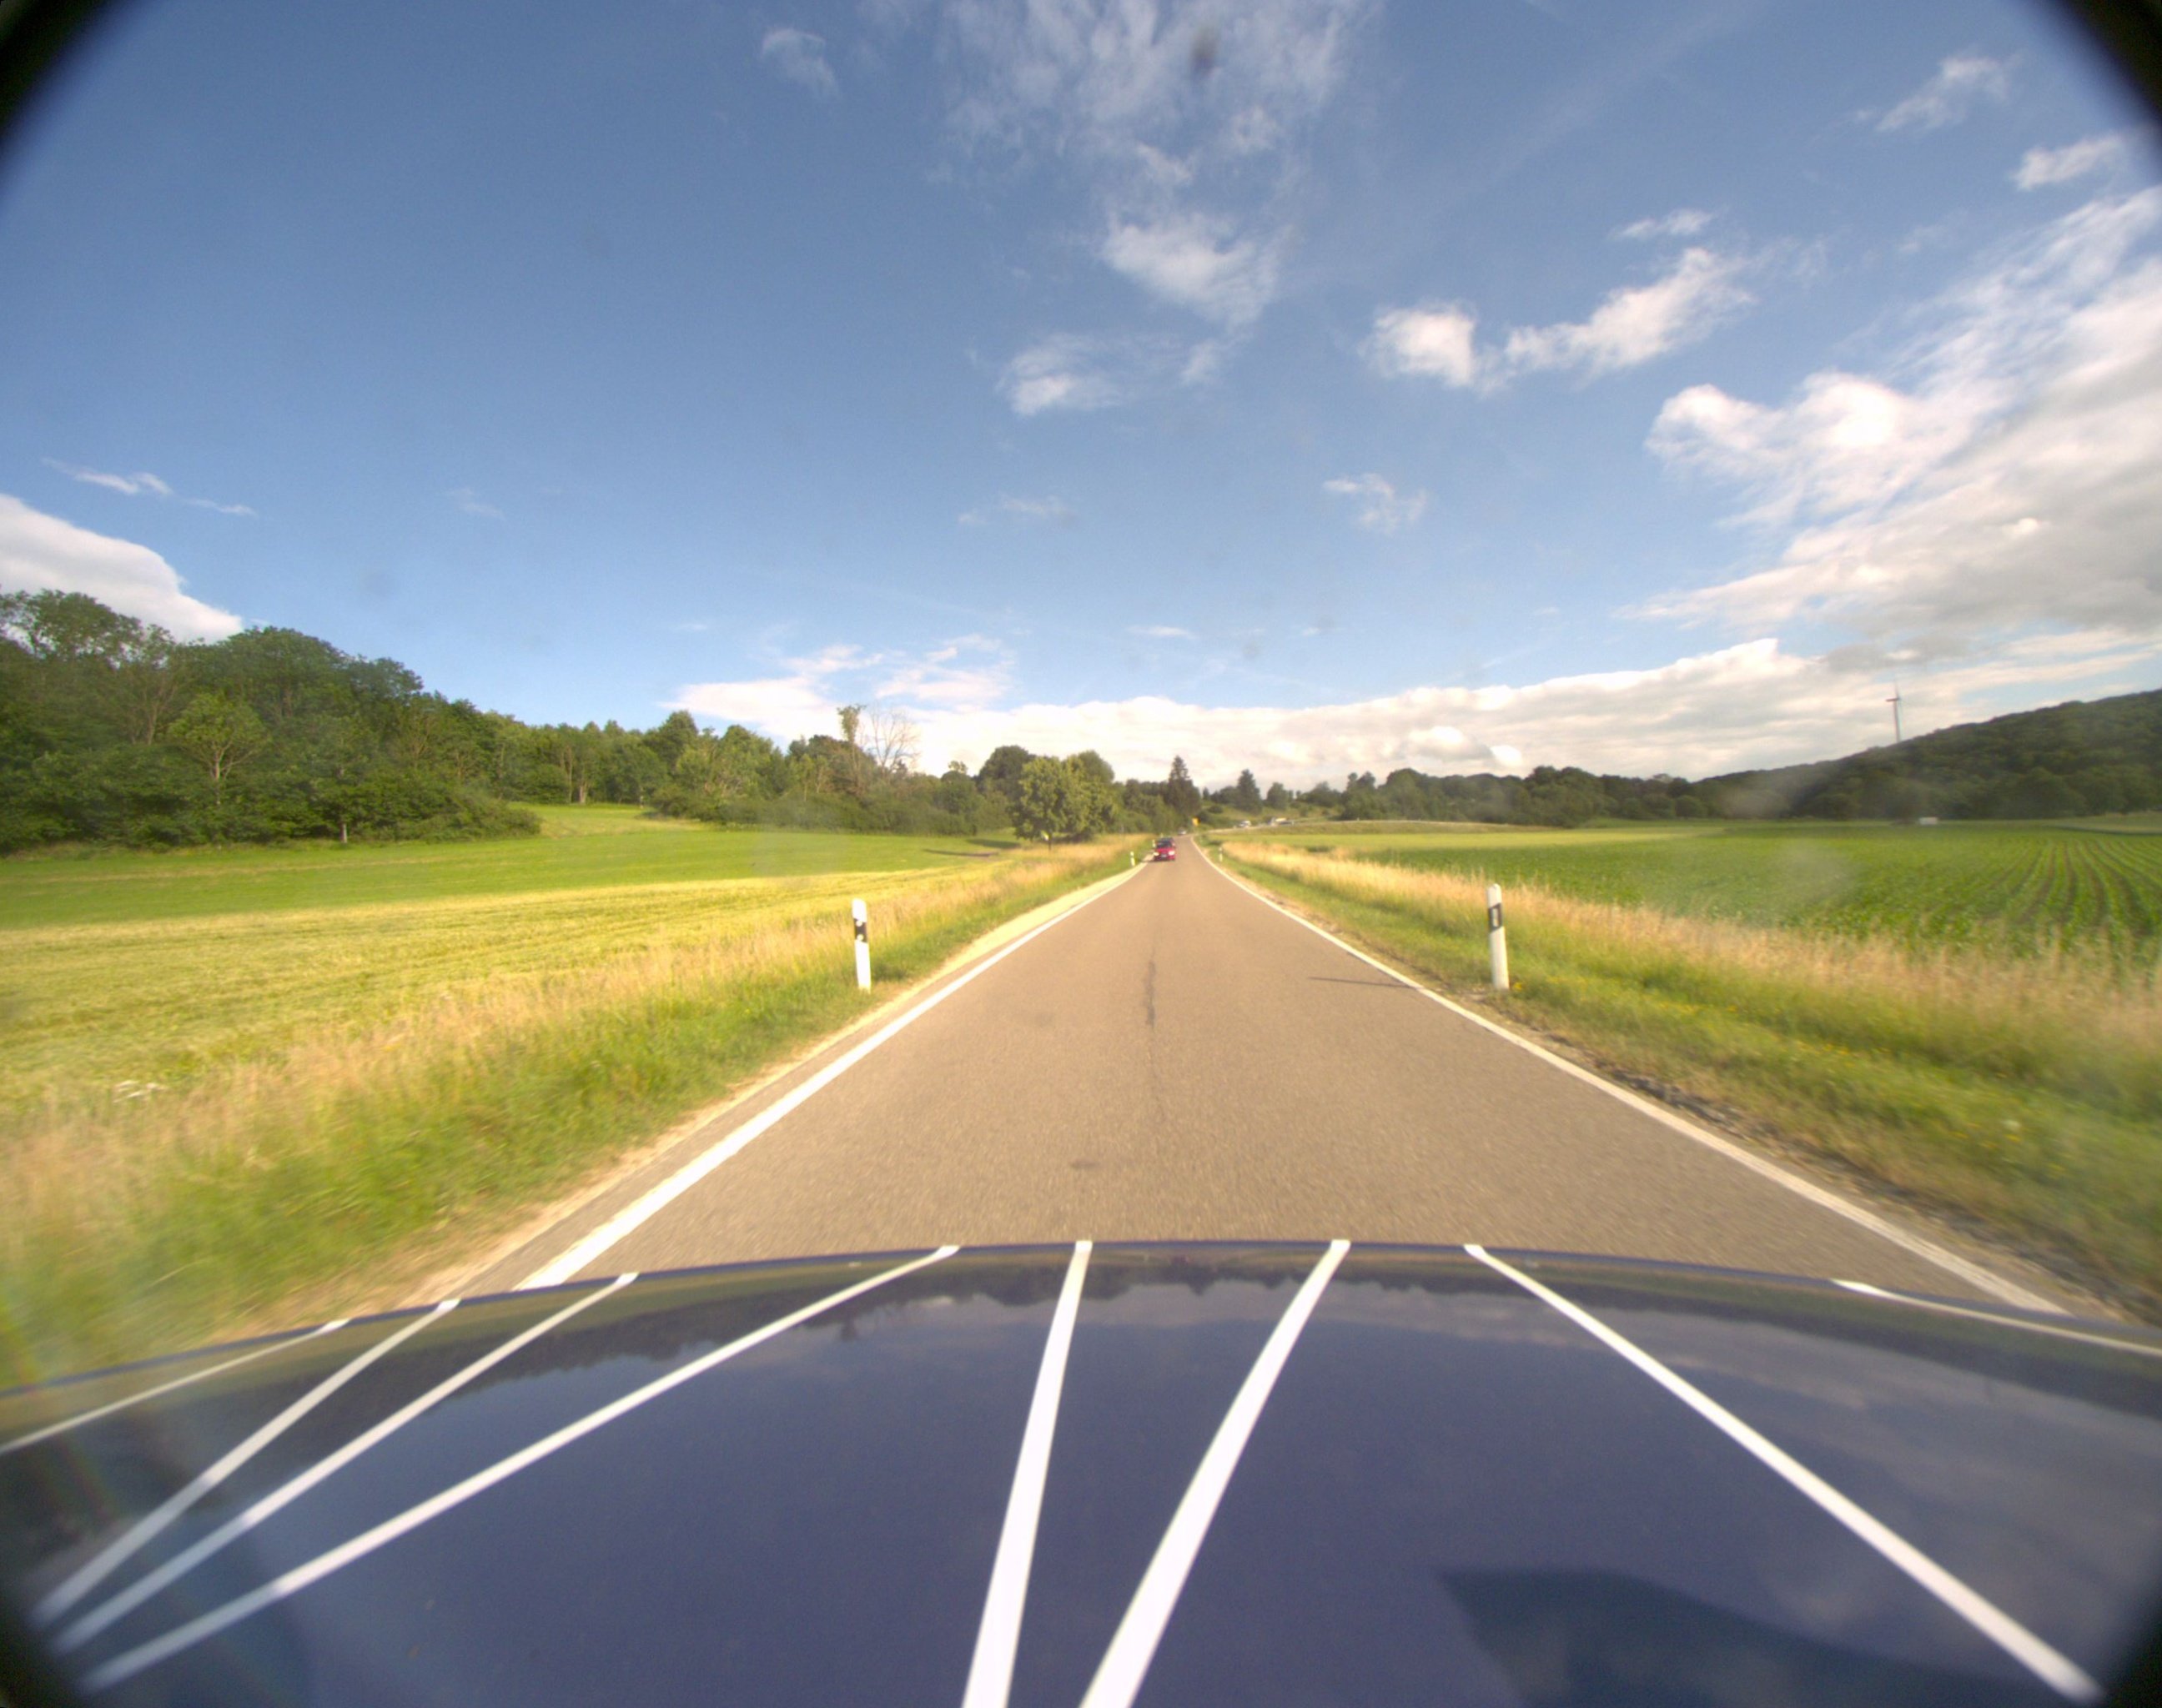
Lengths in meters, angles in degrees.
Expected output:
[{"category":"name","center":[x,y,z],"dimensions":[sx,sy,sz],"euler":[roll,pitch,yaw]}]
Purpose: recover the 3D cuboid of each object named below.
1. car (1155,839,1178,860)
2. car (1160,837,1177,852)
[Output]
[{"category":"car","center":[7.223,-0.391,64.754],"dimensions":[1.820,1.645,4.001],"euler":[-1,1,5]},{"category":"car","center":[9.834,-1.032,85.642],"dimensions":[1.820,1.602,4.002],"euler":[-1,0,7]}]
